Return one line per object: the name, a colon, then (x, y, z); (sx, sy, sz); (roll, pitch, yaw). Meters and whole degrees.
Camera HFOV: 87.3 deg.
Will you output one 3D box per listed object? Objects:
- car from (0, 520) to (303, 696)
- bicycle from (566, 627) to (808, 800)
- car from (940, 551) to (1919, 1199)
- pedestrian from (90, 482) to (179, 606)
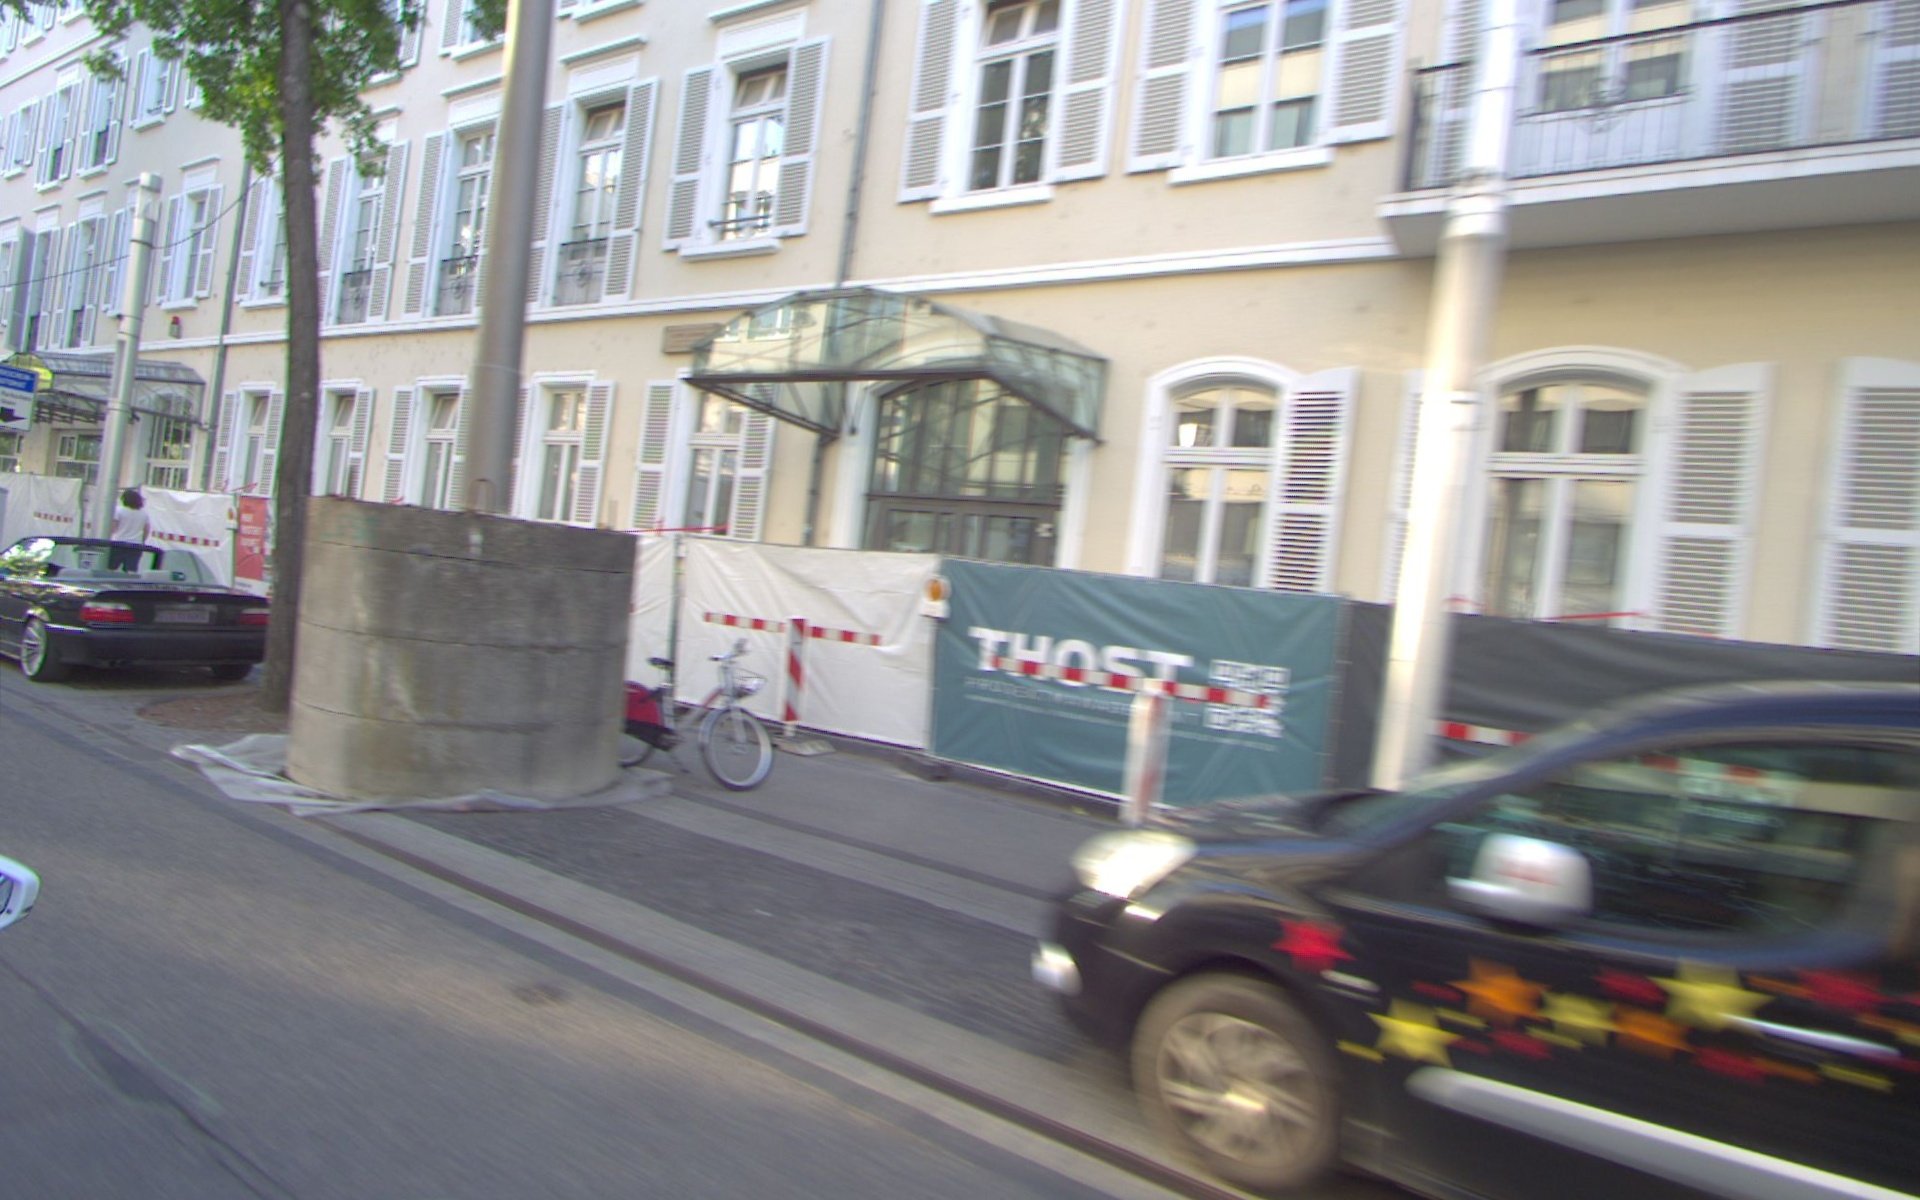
car: (-8.764, -0.009, 10.233); (4.258, 1.328, 1.796); (6, 0, 32)
bicycle: (-2.165, 0.866, 8.036); (1.642, 1.084, 0.655); (7, 1, 12)
car: (2.295, 0.982, 3.161); (4.247, 1.815, 1.952); (6, 0, 35)
pedestrian: (-13.675, -0.927, 16.661); (1.035, 1.910, 0.713); (7, 1, 32)
